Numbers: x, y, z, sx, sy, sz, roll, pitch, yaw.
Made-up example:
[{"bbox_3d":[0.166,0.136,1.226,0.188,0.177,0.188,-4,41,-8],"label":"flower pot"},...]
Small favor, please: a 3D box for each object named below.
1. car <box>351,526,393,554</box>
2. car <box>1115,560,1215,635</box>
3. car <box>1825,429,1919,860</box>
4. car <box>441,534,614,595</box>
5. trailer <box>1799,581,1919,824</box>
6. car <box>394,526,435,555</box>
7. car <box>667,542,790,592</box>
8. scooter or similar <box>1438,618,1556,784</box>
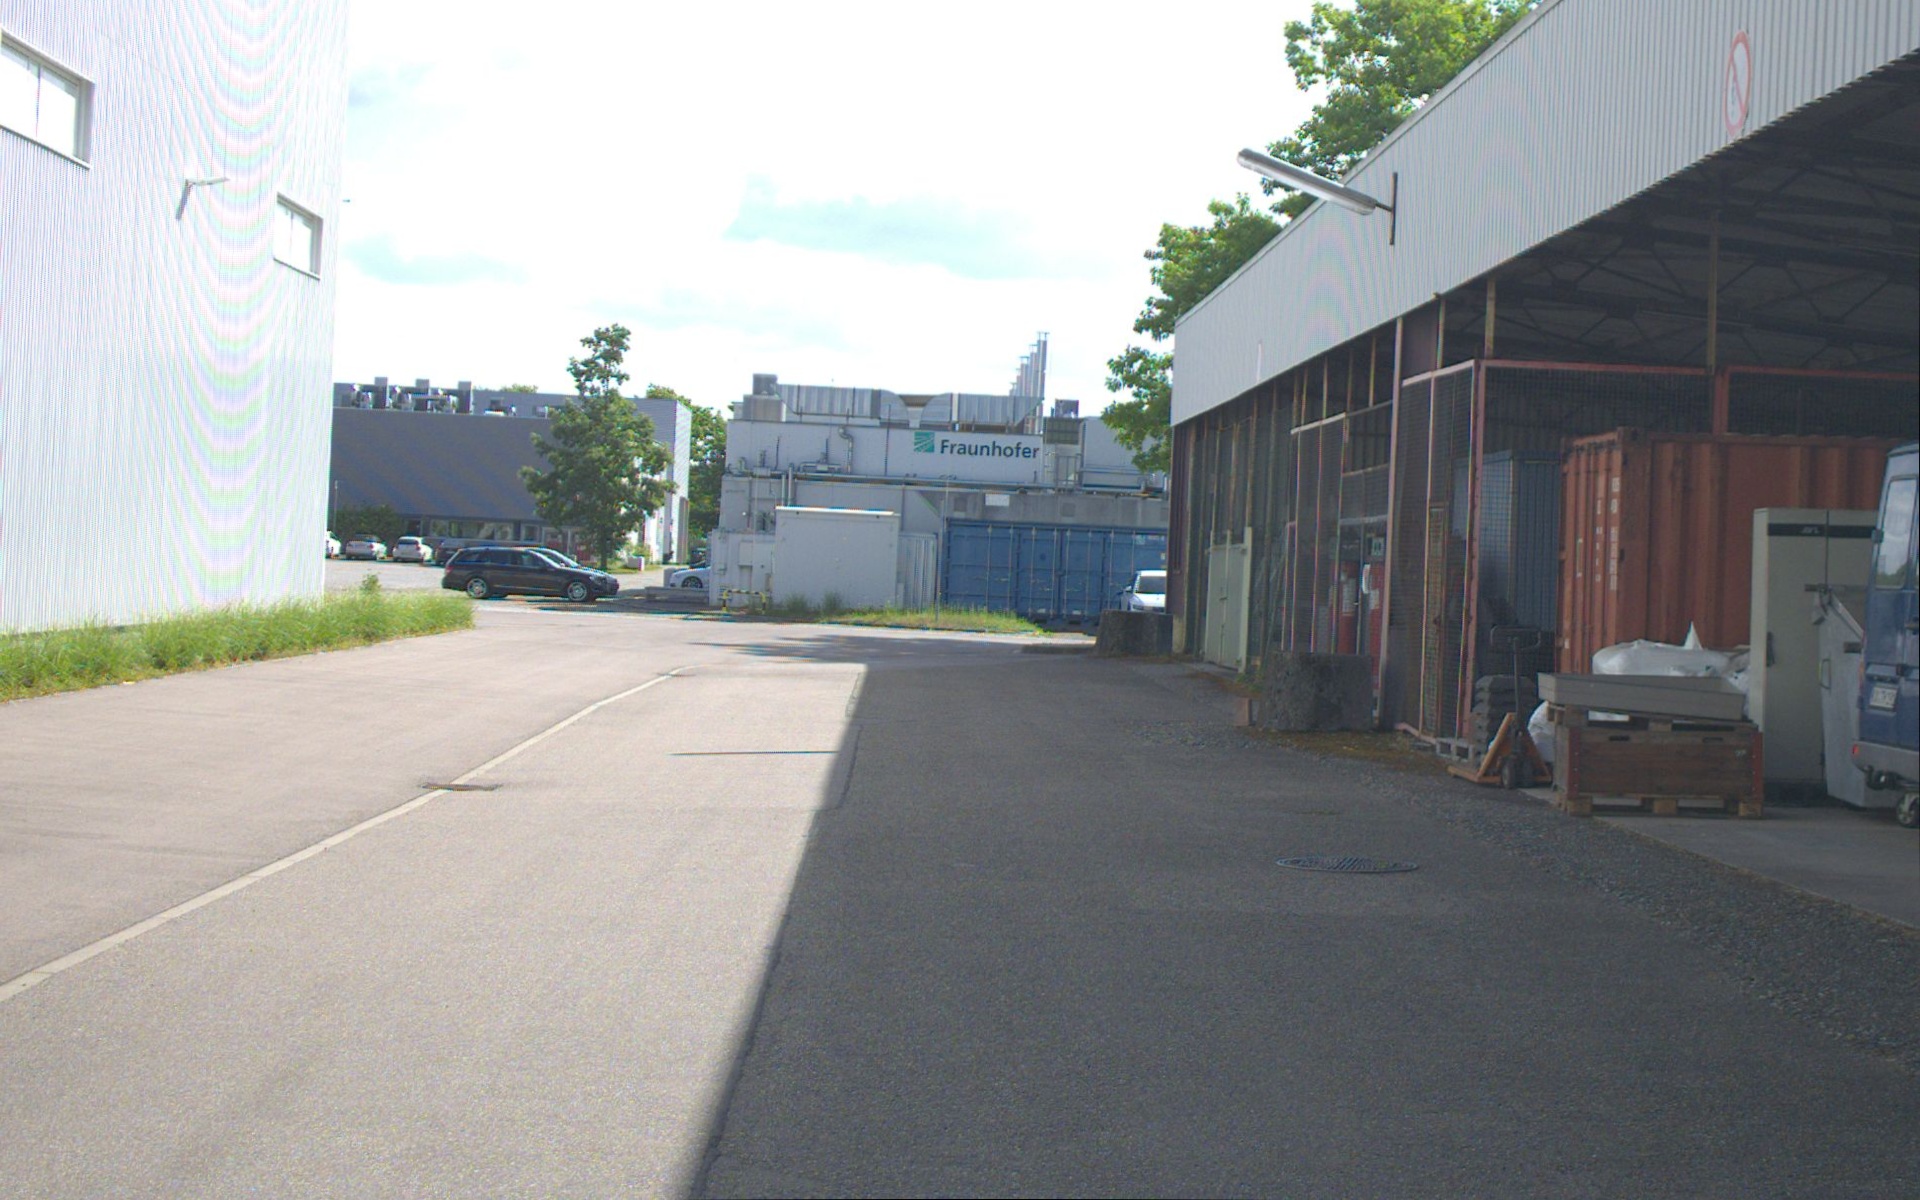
[{"bbox_3d":[-32.847,-3.351,192.172,1.877,1.532,4.036,1,0,-3],"label":"car"},{"bbox_3d":[4.938,-0.082,83.371,1.981,1.588,4.341,3,2,-1],"label":"car"},{"bbox_3d":[7.700,0.315,18.984,5.215,2.289,2.084,2,0,-2],"label":"car"},{"bbox_3d":[-12.007,-0.970,95.695,4.529,1.438,1.987,3,-1,-1],"label":"car"},{"bbox_3d":[6.516,0.649,21.574,2.094,1.457,1.641,2,0,2],"label":"trailer"},{"bbox_3d":[-30.524,-3.311,192.431,1.877,1.532,4.036,1,0,-3],"label":"car"},{"bbox_3d":[-8.299,-1.171,123.506,4.279,1.564,1.987,3,-1,-1],"label":"car"},{"bbox_3d":[3.845,0.708,24.711,0.520,1.131,1.592,2,0,-1],"label":"scooter or similar"}]
